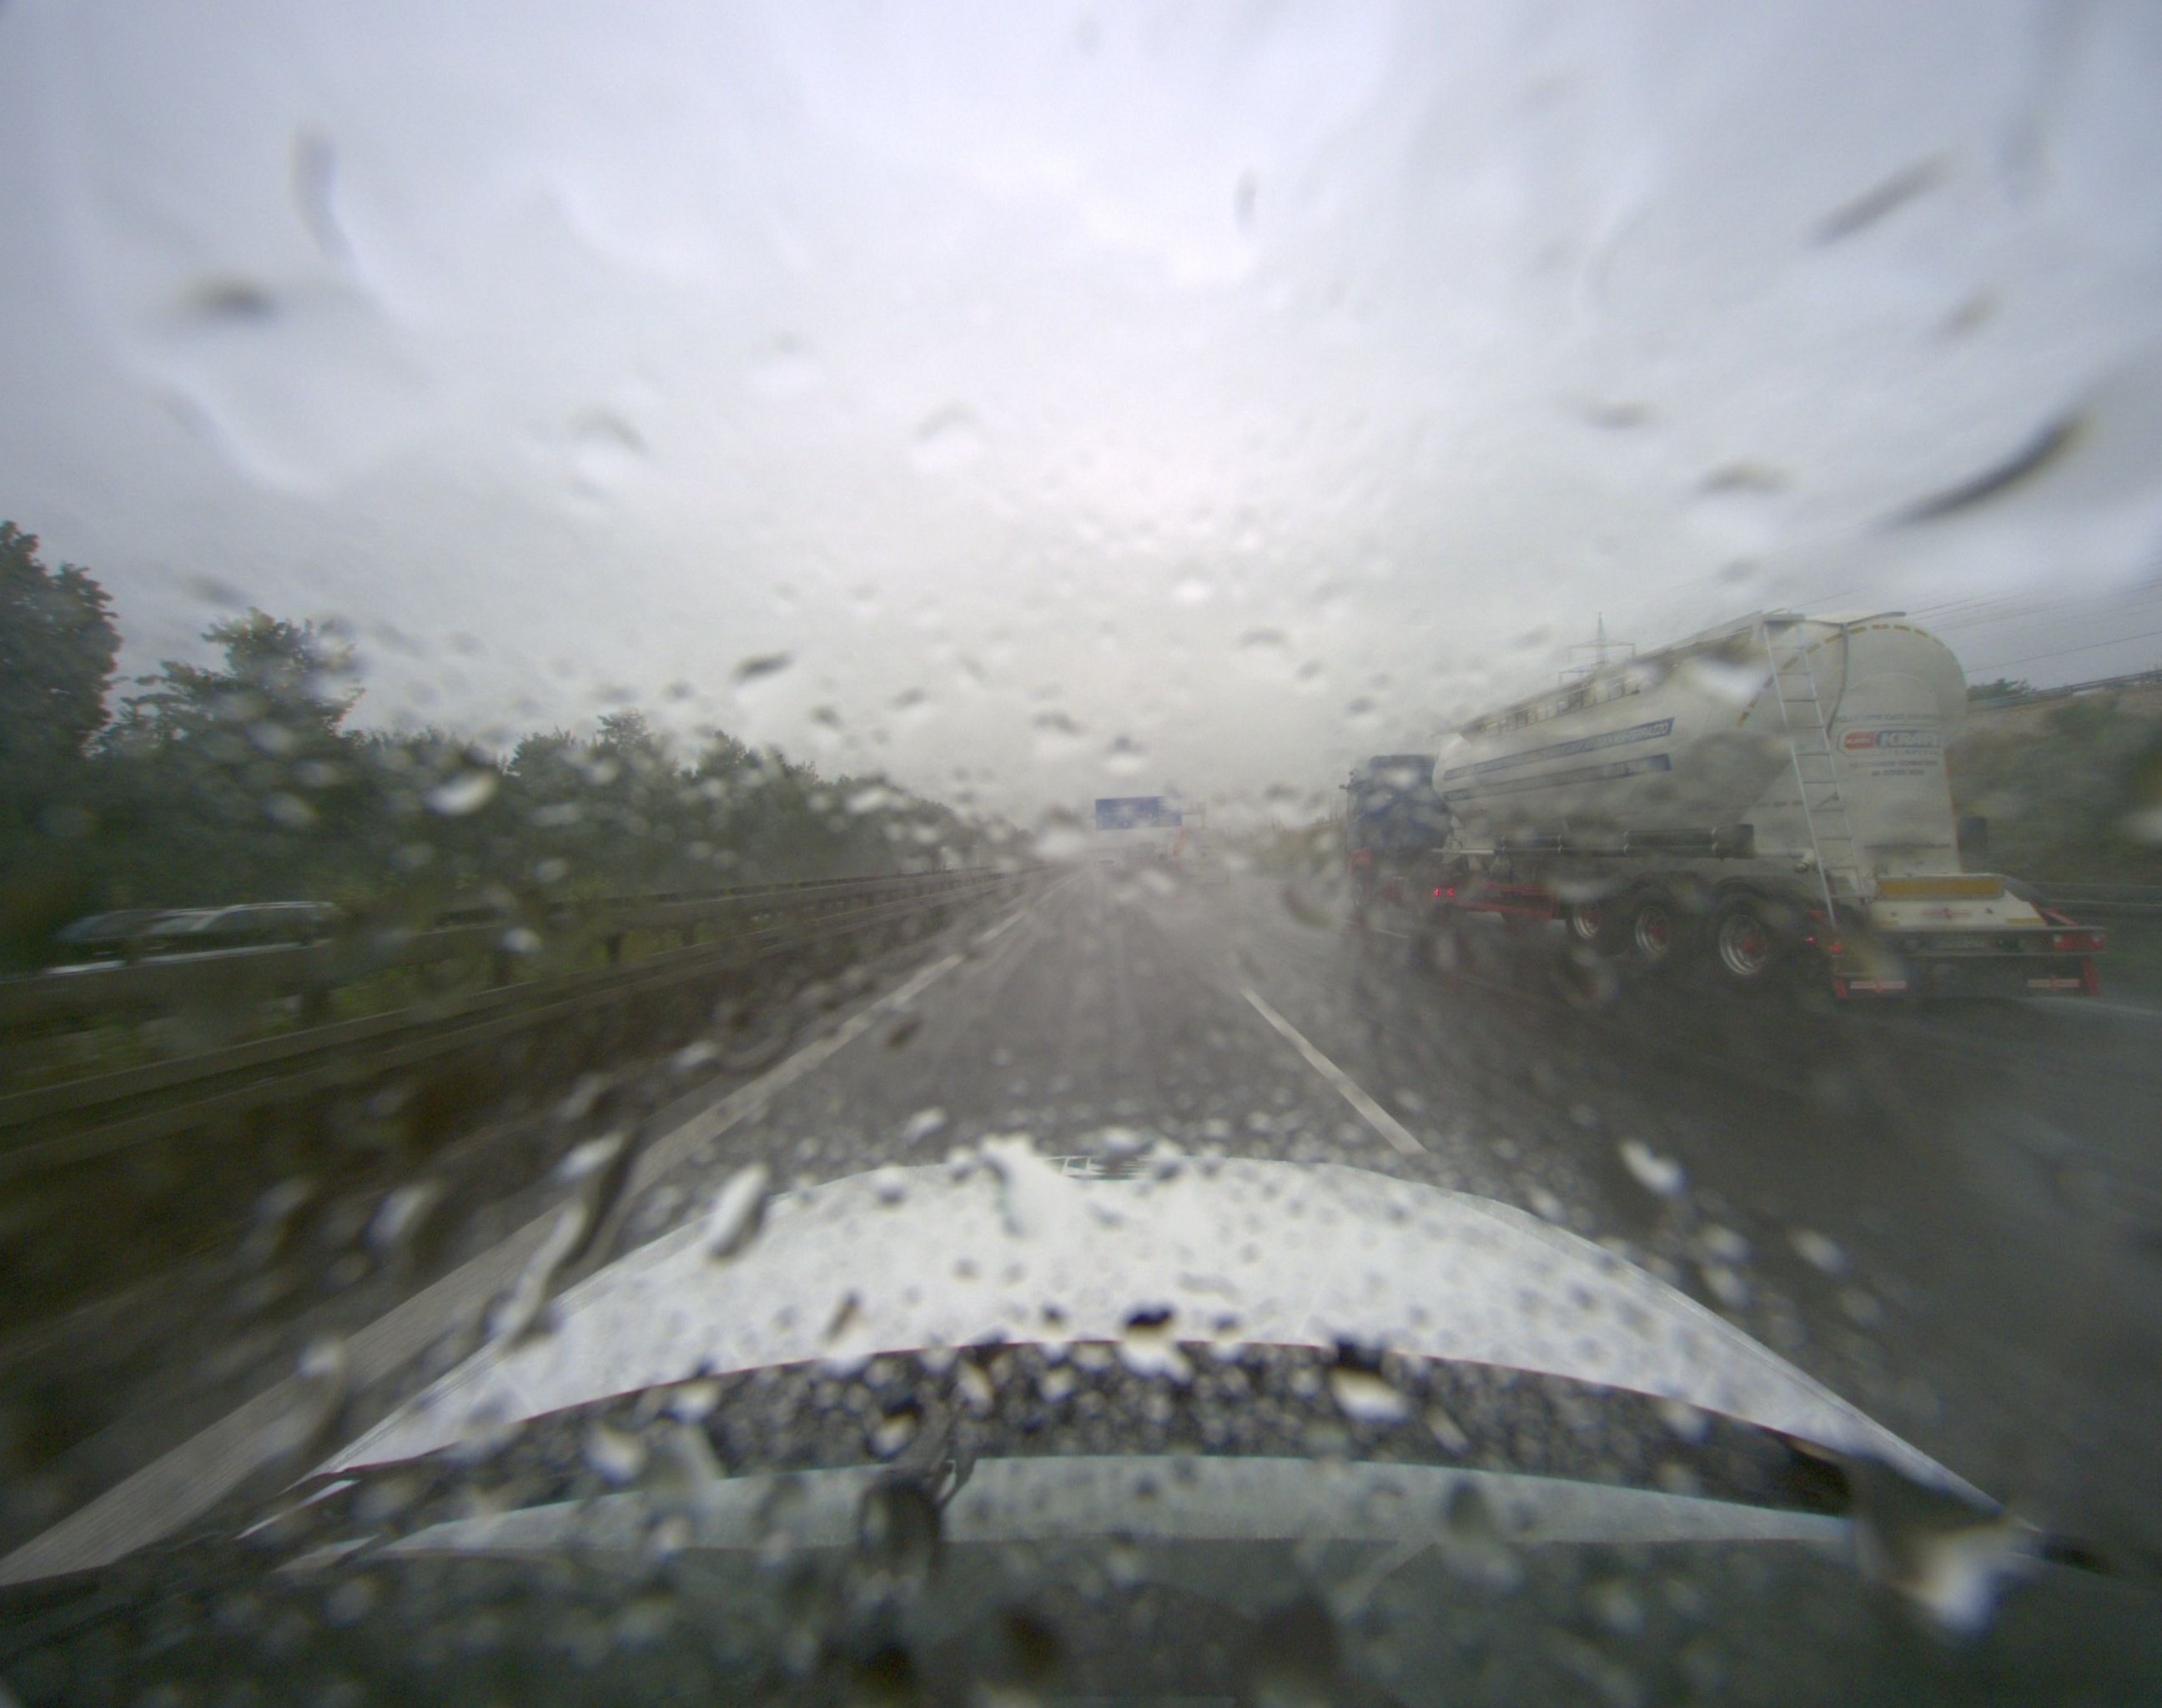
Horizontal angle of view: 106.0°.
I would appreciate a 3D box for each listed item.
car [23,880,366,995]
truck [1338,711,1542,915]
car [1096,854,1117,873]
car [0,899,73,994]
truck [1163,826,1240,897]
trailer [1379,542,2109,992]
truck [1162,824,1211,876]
[{"bbox_3d":[-14.458,1.267,13.638,1.577,1.493,3.743,-1,0,1],"label":"car"},{"bbox_3d":[7.893,-0.833,18.627,2.488,3.983,5.077,-1,0,1],"label":"truck"},{"bbox_3d":[1.975,0.703,62.970,1.599,1.338,3.850,-1,0,1],"label":"car"},{"bbox_3d":[-19.346,1.627,12.895,1.727,1.567,4.001,-1,0,1],"label":"car"},{"bbox_3d":[4.596,0.243,32.033,2.410,2.492,5.563,-1,0,2],"label":"truck"},{"bbox_3d":[7.792,-0.799,12.620,2.488,3.882,11.069,-1,0,1],"label":"trailer"},{"bbox_3d":[10.290,-0.290,81.276,3.029,4.588,16.352,-1,0,1],"label":"truck"}]
